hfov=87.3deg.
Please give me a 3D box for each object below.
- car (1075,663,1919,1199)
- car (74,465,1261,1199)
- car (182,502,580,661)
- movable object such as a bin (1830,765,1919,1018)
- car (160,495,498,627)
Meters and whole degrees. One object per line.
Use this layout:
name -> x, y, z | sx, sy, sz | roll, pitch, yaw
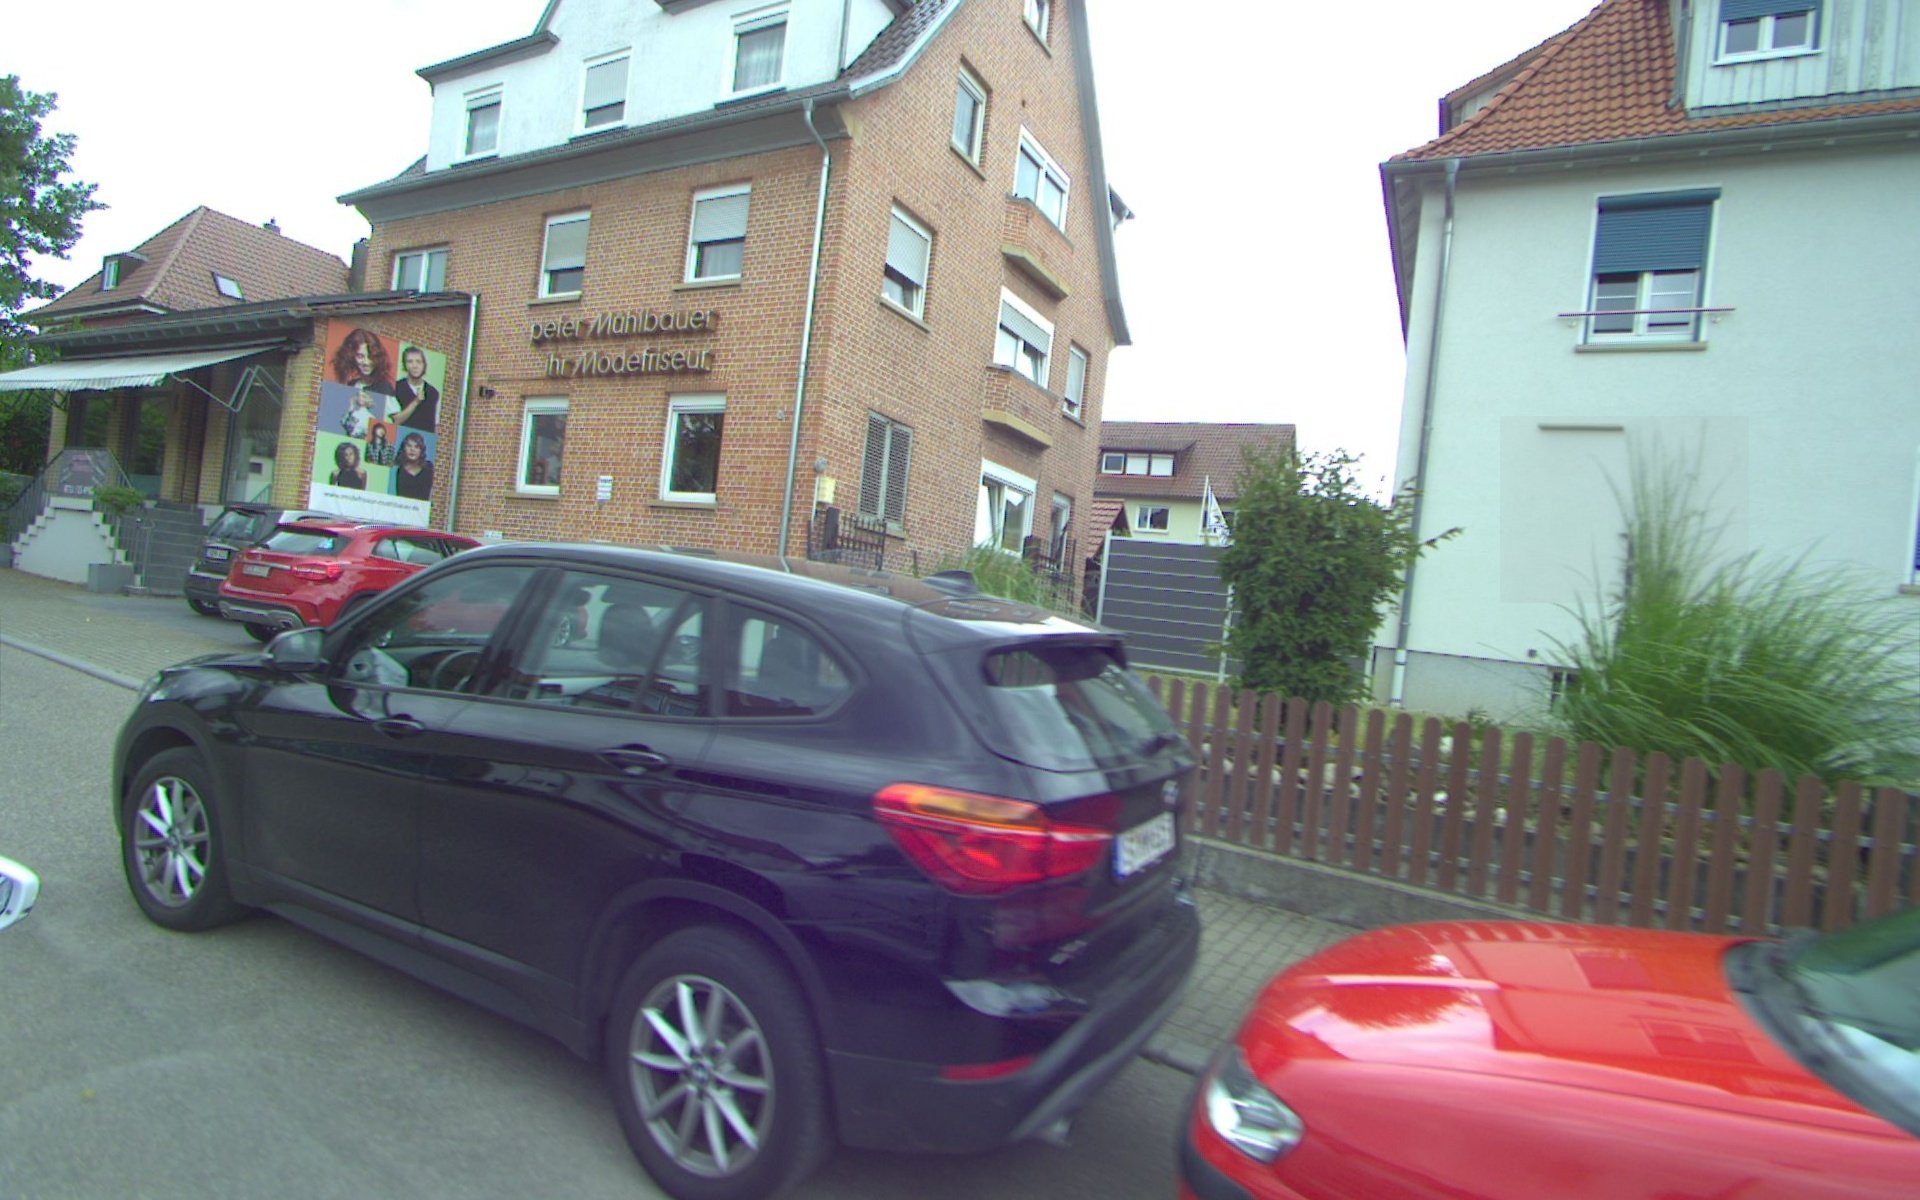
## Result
car -> 2.203, 1.081, 1.669 | 3.606, 1.410, 1.665 | 7, 0, 32
car -> -1.213, 0.550, 3.673 | 4.028, 1.583, 1.666 | 7, 0, 29
car -> -6.947, -0.202, 12.570 | 1.777, 1.516, 3.994 | 7, 2, 23
movable object such as a bin -> 4.925, 1.463, 4.980 | 0.680, 1.117, 0.777 | 8, 1, 30
car -> -9.068, -0.498, 14.843 | 1.476, 1.581, 3.992 | 7, 2, 25
